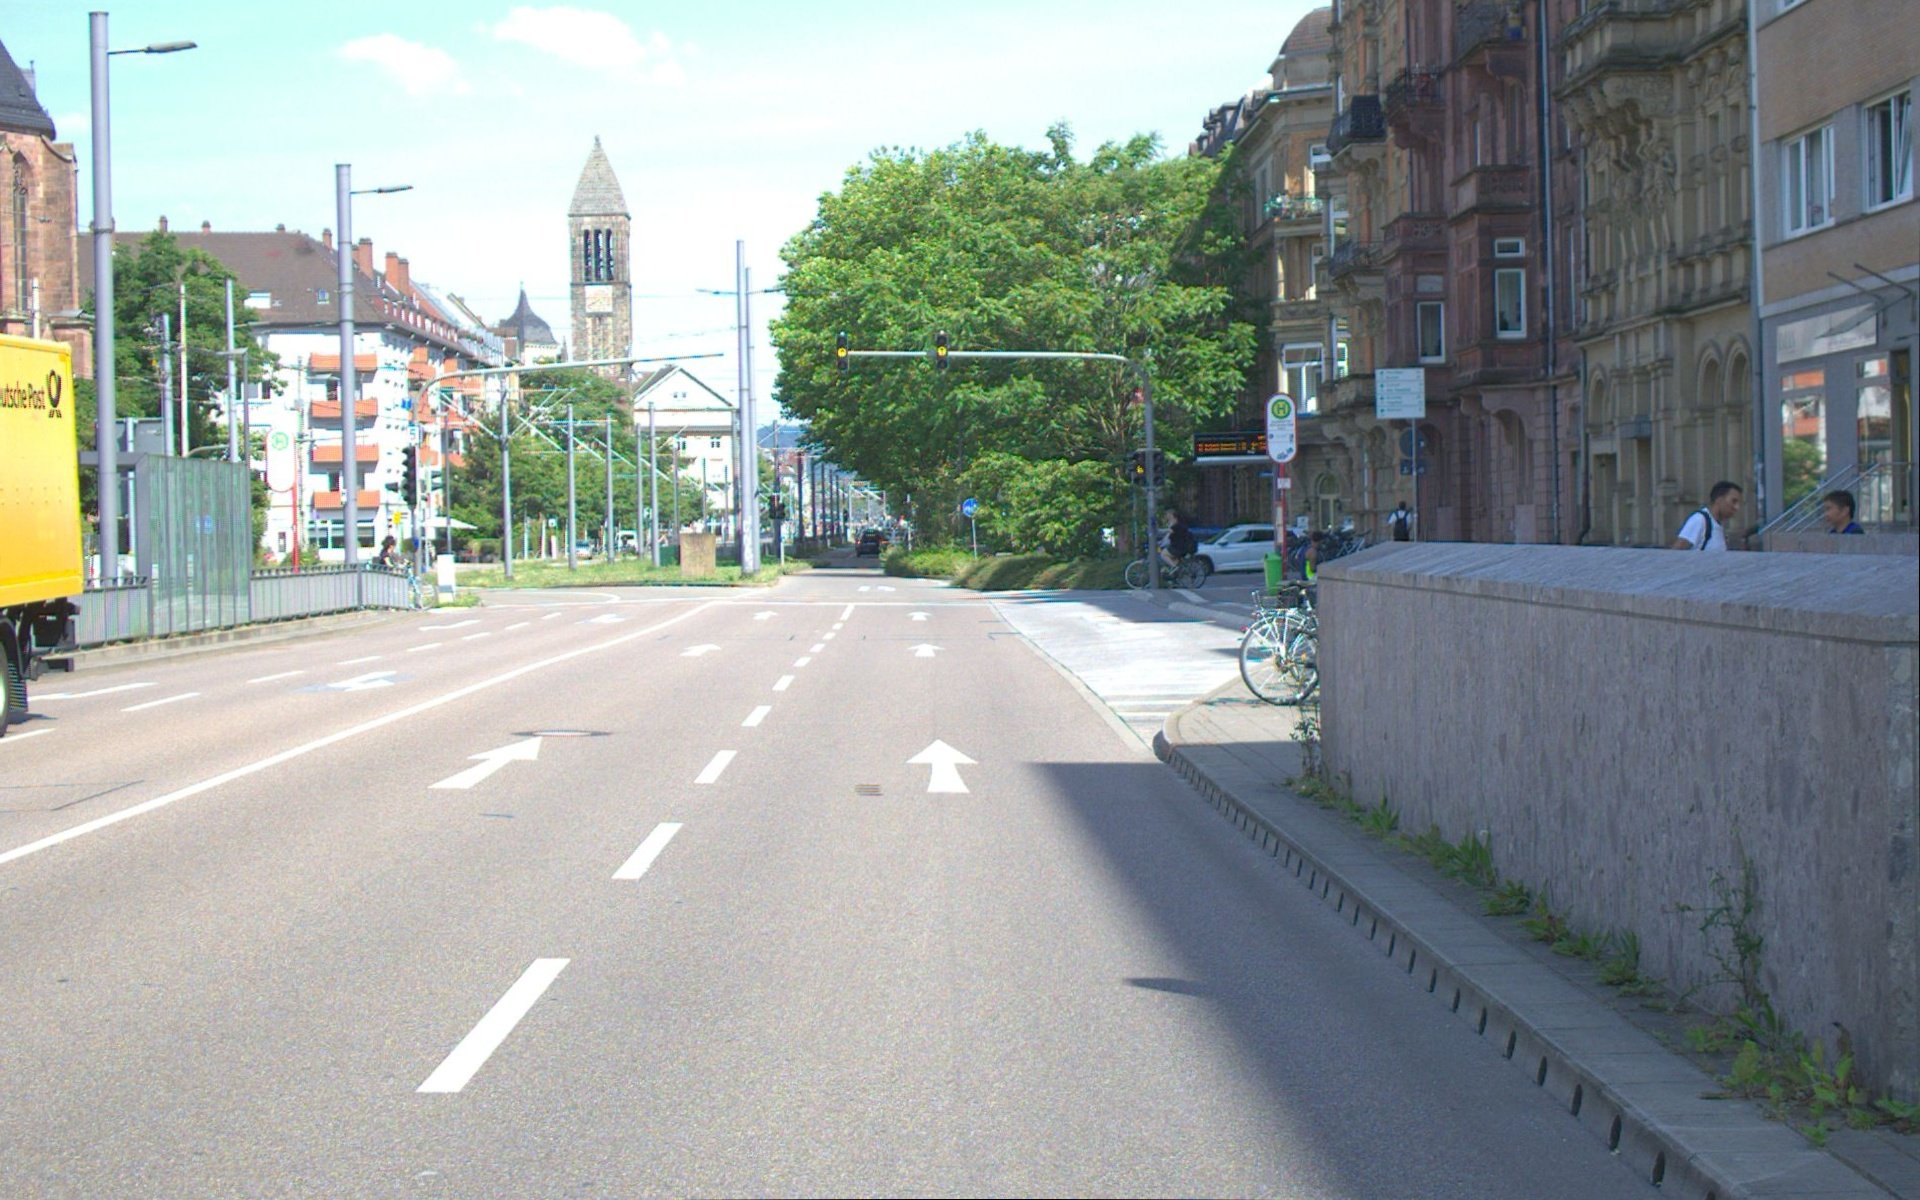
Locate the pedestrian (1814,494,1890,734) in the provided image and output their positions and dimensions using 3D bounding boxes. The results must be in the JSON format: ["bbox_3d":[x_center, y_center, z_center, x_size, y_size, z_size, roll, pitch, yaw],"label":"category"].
[{"bbox_3d":[6.258,0.090,24.126,0.371,1.660,0.525,-1,1,-1],"label":"pedestrian"}]

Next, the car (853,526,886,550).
[{"bbox_3d":[-5.504,-3.775,209.145,1.899,1.371,3.816,-1,1,-3],"label":"car"}]

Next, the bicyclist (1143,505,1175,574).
[{"bbox_3d":[4.647,-1.410,80.275,0.639,1.586,0.483,-1,3,-16],"label":"bicyclist"}]

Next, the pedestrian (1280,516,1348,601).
[{"bbox_3d":[5.666,-0.669,55.087,0.947,1.320,0.823,-1,1,-3],"label":"pedestrian"}]

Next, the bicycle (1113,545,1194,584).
[{"bbox_3d":[4.519,-0.829,80.265,1.818,0.860,0.483,-1,3,-16],"label":"bicycle"}]

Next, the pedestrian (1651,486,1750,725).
[{"bbox_3d":[5.228,0.031,24.281,0.553,1.660,0.525,-1,1,-1],"label":"pedestrian"}]

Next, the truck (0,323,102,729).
[{"bbox_3d":[-8.981,-0.516,26.374,2.543,3.287,9.029,-3,1,-1],"label":"truck"}]

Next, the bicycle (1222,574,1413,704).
[{"bbox_3d":[2.844,0.307,27.402,1.460,0.972,0.415,-1,4,-1],"label":"bicycle"}]

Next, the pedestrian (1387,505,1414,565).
[{"bbox_3d":[10.527,-1.552,82.146,0.532,1.402,0.491,-1,4,-7],"label":"pedestrian"}]

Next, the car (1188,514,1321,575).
[{"bbox_3d":[9.172,-1.738,107.261,3.987,1.743,2.000,-1,4,1],"label":"car"}]

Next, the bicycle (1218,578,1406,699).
[{"bbox_3d":[2.844,0.308,27.849,1.460,0.943,0.415,-1,0,-1],"label":"bicycle"}]
